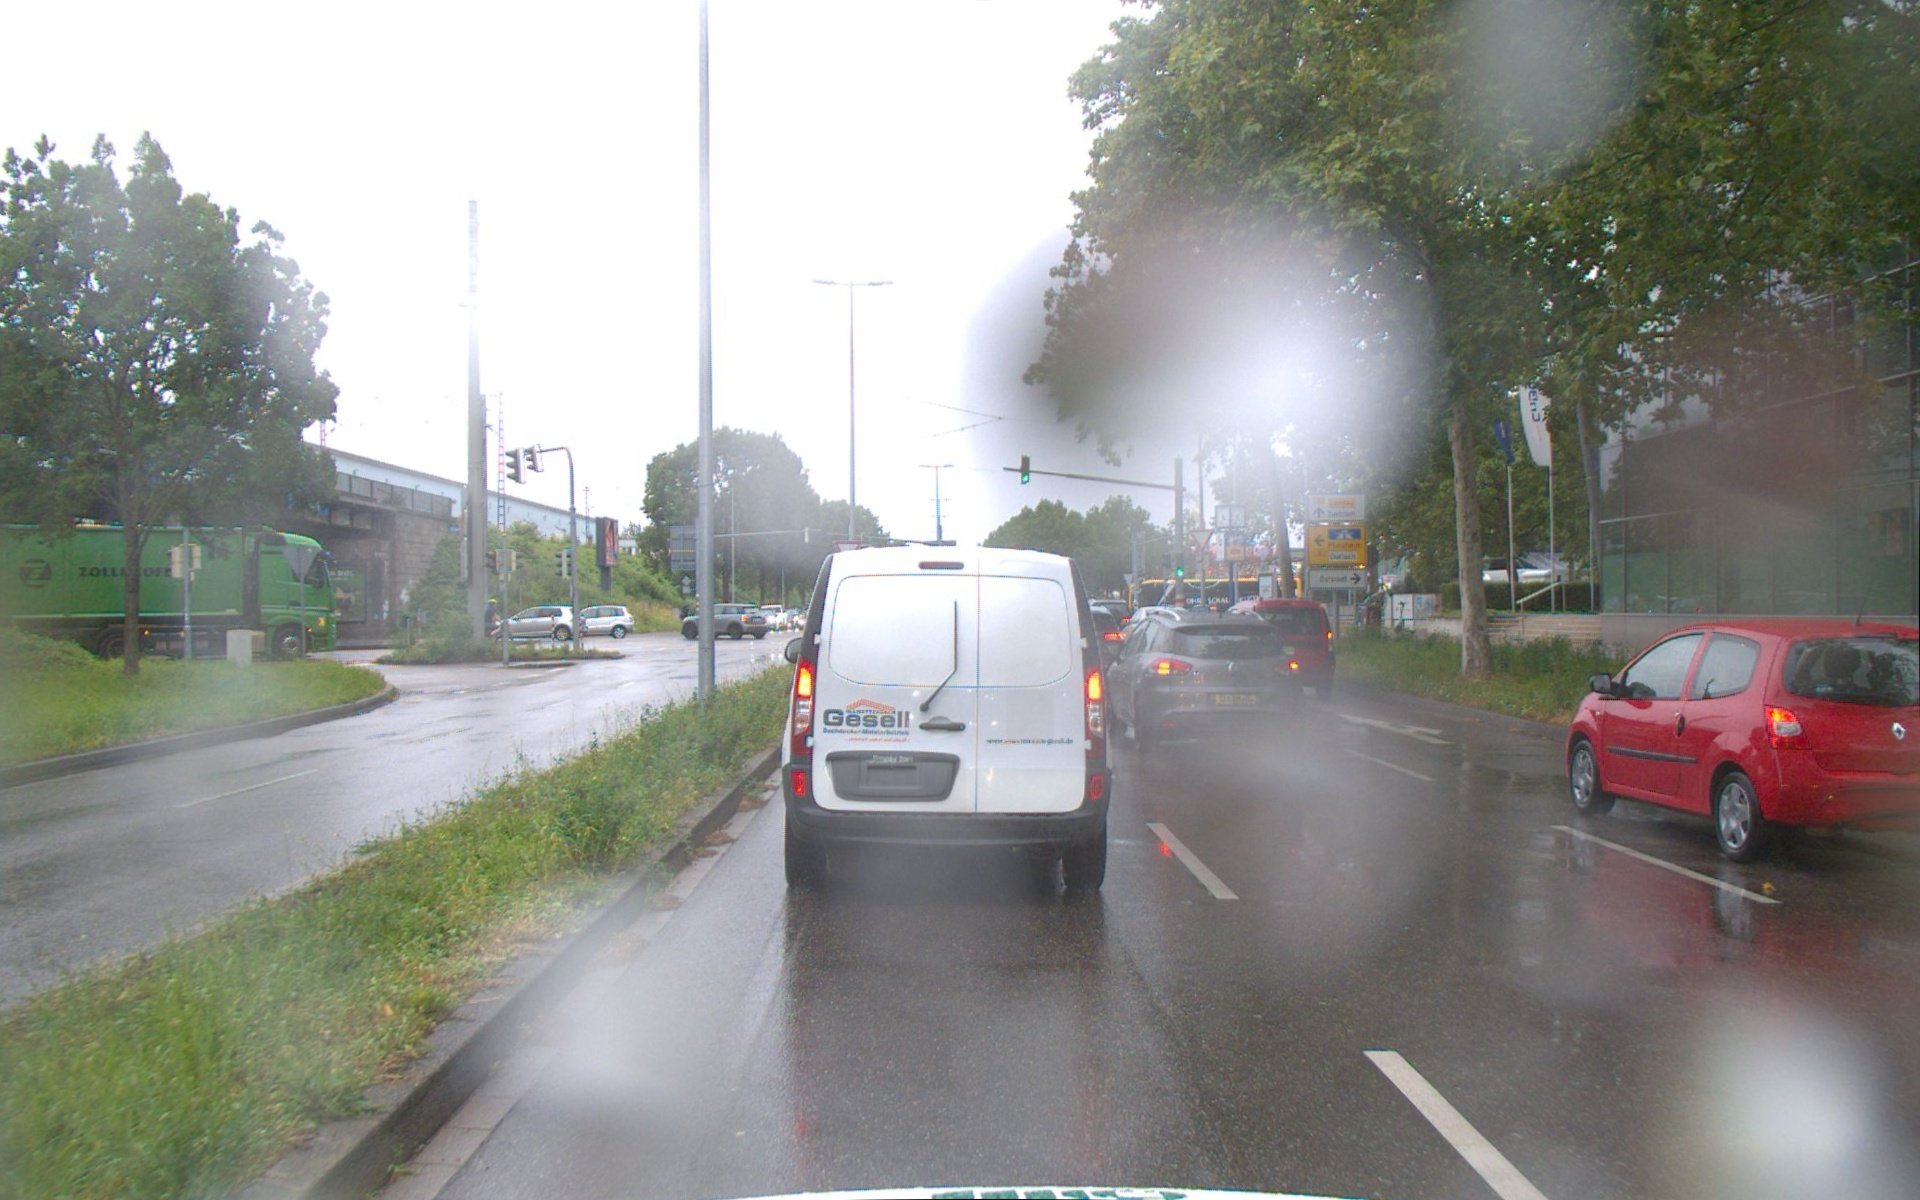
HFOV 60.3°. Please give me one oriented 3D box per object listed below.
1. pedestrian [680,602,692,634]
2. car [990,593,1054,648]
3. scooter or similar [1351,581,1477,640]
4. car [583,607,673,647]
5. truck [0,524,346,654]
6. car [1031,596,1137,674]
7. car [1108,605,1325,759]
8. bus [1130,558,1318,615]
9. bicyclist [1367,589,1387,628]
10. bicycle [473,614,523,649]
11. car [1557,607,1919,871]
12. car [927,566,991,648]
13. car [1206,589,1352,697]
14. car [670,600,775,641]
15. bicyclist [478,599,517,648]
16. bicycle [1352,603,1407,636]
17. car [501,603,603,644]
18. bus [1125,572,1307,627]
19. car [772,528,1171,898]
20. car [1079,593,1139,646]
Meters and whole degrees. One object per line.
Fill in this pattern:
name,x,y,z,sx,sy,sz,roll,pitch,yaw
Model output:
pedestrian,-15.162,0.983,91.504,0.532,1.746,0.563,1,-1,-4
car,1.920,0.626,52.201,1.816,1.678,3.842,0,0,-1
scooter or similar,19.969,0.433,72.915,1.878,2.489,5.239,0,0,-41
car,-15.551,1.270,77.430,3.927,1.747,1.989,-1,-1,-20
truck,-22.852,-0.305,46.990,9.956,3.430,2.316,0,0,-37
car,2.450,0.659,33.422,1.816,1.486,3.842,0,0,-1
car,2.652,0.802,17.897,1.649,1.433,3.842,1,0,-1
bus,16.994,-0.892,106.721,11.726,3.483,2.315,-1,0,-1
bicyclist,15.692,0.314,62.257,0.610,1.443,0.468,0,-1,41
bicycle,-14.245,0.957,50.933,1.027,0.968,2.866,-1,1,-25
car,5.469,0.811,11.197,1.537,1.488,3.388,1,0,-2
car,-0.048,0.189,49.091,1.816,2.337,3.842,0,0,-1
car,5.499,0.729,28.992,1.676,1.724,4.271,1,-1,-1
car,-9.857,0.828,68.571,4.103,1.680,1.795,0,0,32
bicyclist,-14.242,0.702,50.907,1.028,1.475,0.723,-1,0,-25
bicycle,15.850,0.736,62.428,0.610,1.207,3.356,0,-1,40
car,-17.180,0.993,69.704,3.735,1.570,2.000,-2,-1,2
bus,17.097,-0.061,110.690,11.735,3.483,2.481,-1,0,-4
car,0.032,0.543,10.387,1.953,1.807,4.584,0,0,-1
car,5.080,0.630,56.931,1.673,1.758,3.842,0,0,-1
